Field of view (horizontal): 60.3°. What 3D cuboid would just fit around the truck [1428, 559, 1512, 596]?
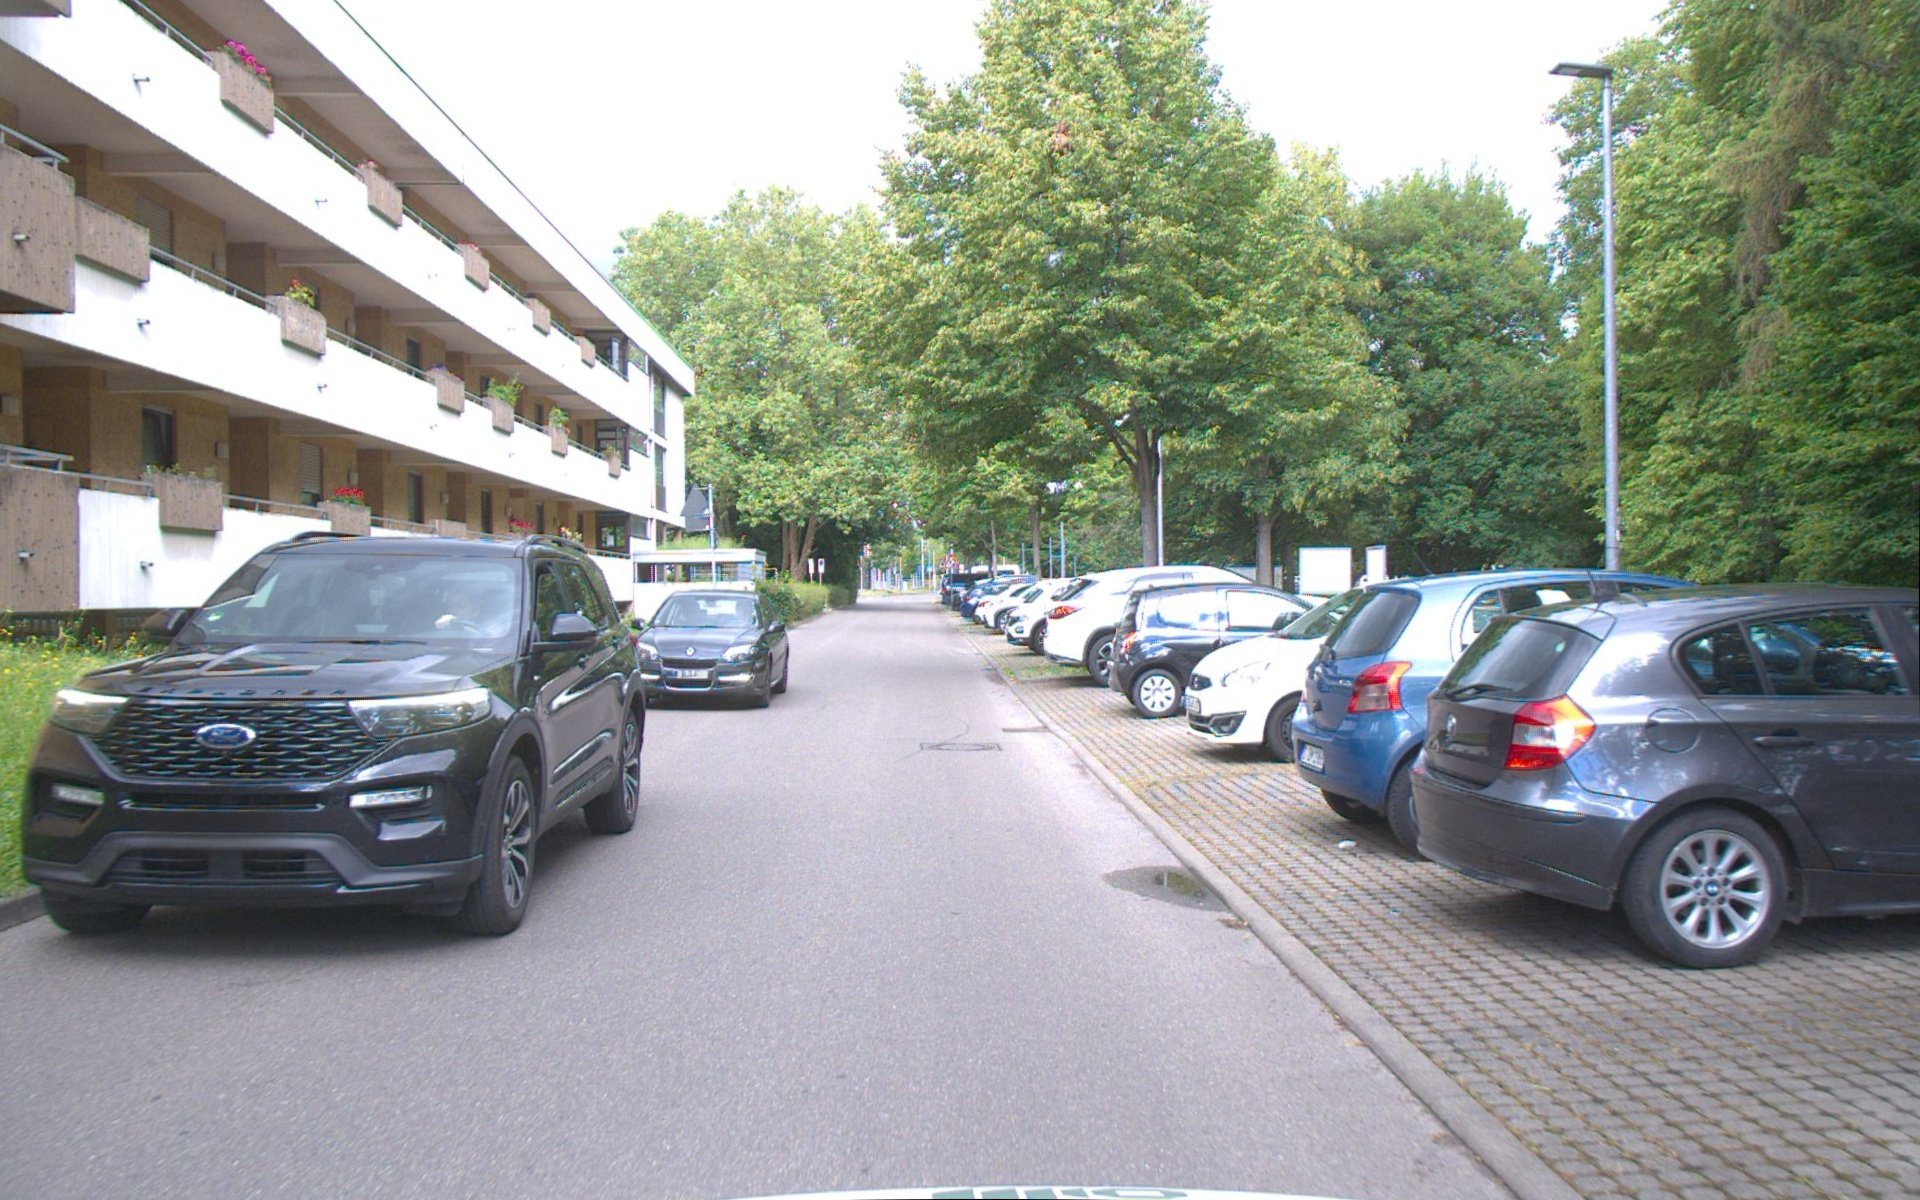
[{"bbox_3d":[36.476,-1.594,118.350,5.390,2.468,2.194,-1,0,5],"label":"truck"}]

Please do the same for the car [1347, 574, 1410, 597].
[{"bbox_3d":[30.042,-1.053,118.793,4.192,1.553,1.704,-1,0,5],"label":"car"}]

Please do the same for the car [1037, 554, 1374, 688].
[{"bbox_3d":[3.559,0.301,24.687,4.718,1.722,1.974,-2,0,1],"label":"car"}]

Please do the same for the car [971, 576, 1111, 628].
[{"bbox_3d":[2.606,0.069,53.975,4.395,1.480,1.846,-2,0,-2],"label":"car"}]

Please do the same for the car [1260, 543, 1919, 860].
[{"bbox_3d":[3.985,0.515,9.712,4.053,1.598,1.785,-1,0,-4],"label":"car"}]

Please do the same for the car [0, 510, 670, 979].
[{"bbox_3d":[-2.833,0.524,8.722,1.875,1.747,5.056,0,0,-2],"label":"car"}]

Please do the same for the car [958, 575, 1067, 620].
[{"bbox_3d":[2.008,-0.114,64.196,3.994,1.543,1.849,-2,0,-6],"label":"car"}]

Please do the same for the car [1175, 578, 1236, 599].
[{"bbox_3d":[17.756,-0.834,119.787,4.300,1.453,1.704,-1,0,4],"label":"car"}]

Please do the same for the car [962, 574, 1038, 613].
[{"bbox_3d":[1.788,-0.316,74.810,3.311,1.602,1.796,-2,1,-1],"label":"car"}]

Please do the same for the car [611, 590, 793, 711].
[{"bbox_3d":[-3.268,0.585,21.770,1.875,1.436,4.422,0,0,-2],"label":"car"}]

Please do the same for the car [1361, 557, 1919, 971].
[{"bbox_3d":[3.969,0.569,7.110,4.005,1.489,1.785,-1,0,-4],"label":"car"}]

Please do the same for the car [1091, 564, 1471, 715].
[{"bbox_3d":[3.661,0.433,19.402,4.073,1.598,1.851,-1,0,0],"label":"car"}]

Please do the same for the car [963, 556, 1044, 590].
[{"bbox_3d":[3.310,-2.031,126.368,6.129,2.519,2.139,0,0,-1],"label":"car"}]

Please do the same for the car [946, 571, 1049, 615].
[{"bbox_3d":[1.617,-0.318,72.197,4.327,1.705,2.081,-2,1,-2],"label":"car"}]

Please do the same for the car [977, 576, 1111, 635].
[{"bbox_3d":[2.424,0.147,48.158,3.761,1.542,1.881,-2,0,1],"label":"car"}]

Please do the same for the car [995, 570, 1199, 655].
[{"bbox_3d":[2.858,0.256,35.143,4.032,1.575,1.859,-2,0,-5],"label":"car"}]

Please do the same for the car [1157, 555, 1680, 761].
[{"bbox_3d":[3.952,0.462,14.638,4.078,1.598,1.783,-1,0,-6],"label":"car"}]

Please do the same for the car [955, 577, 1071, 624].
[{"bbox_3d":[1.866,0.027,59.056,3.990,1.481,1.851,-2,0,-1],"label":"car"}]

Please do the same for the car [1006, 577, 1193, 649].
[{"bbox_3d":[3.137,0.281,37.696,3.932,1.447,1.789,-2,0,-7],"label":"car"}]

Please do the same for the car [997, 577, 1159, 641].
[{"bbox_3d":[3.016,0.213,42.821,3.973,1.447,1.816,-2,0,-3],"label":"car"}]

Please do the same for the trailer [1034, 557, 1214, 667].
[{"bbox_3d":[2.939,0.200,29.979,2.970,1.822,1.562,-2,0,-5],"label":"trailer"}]

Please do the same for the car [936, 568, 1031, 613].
[{"bbox_3d":[1.238,-0.507,87.717,4.854,2.048,2.165,-3,0,-1],"label":"car"}]
